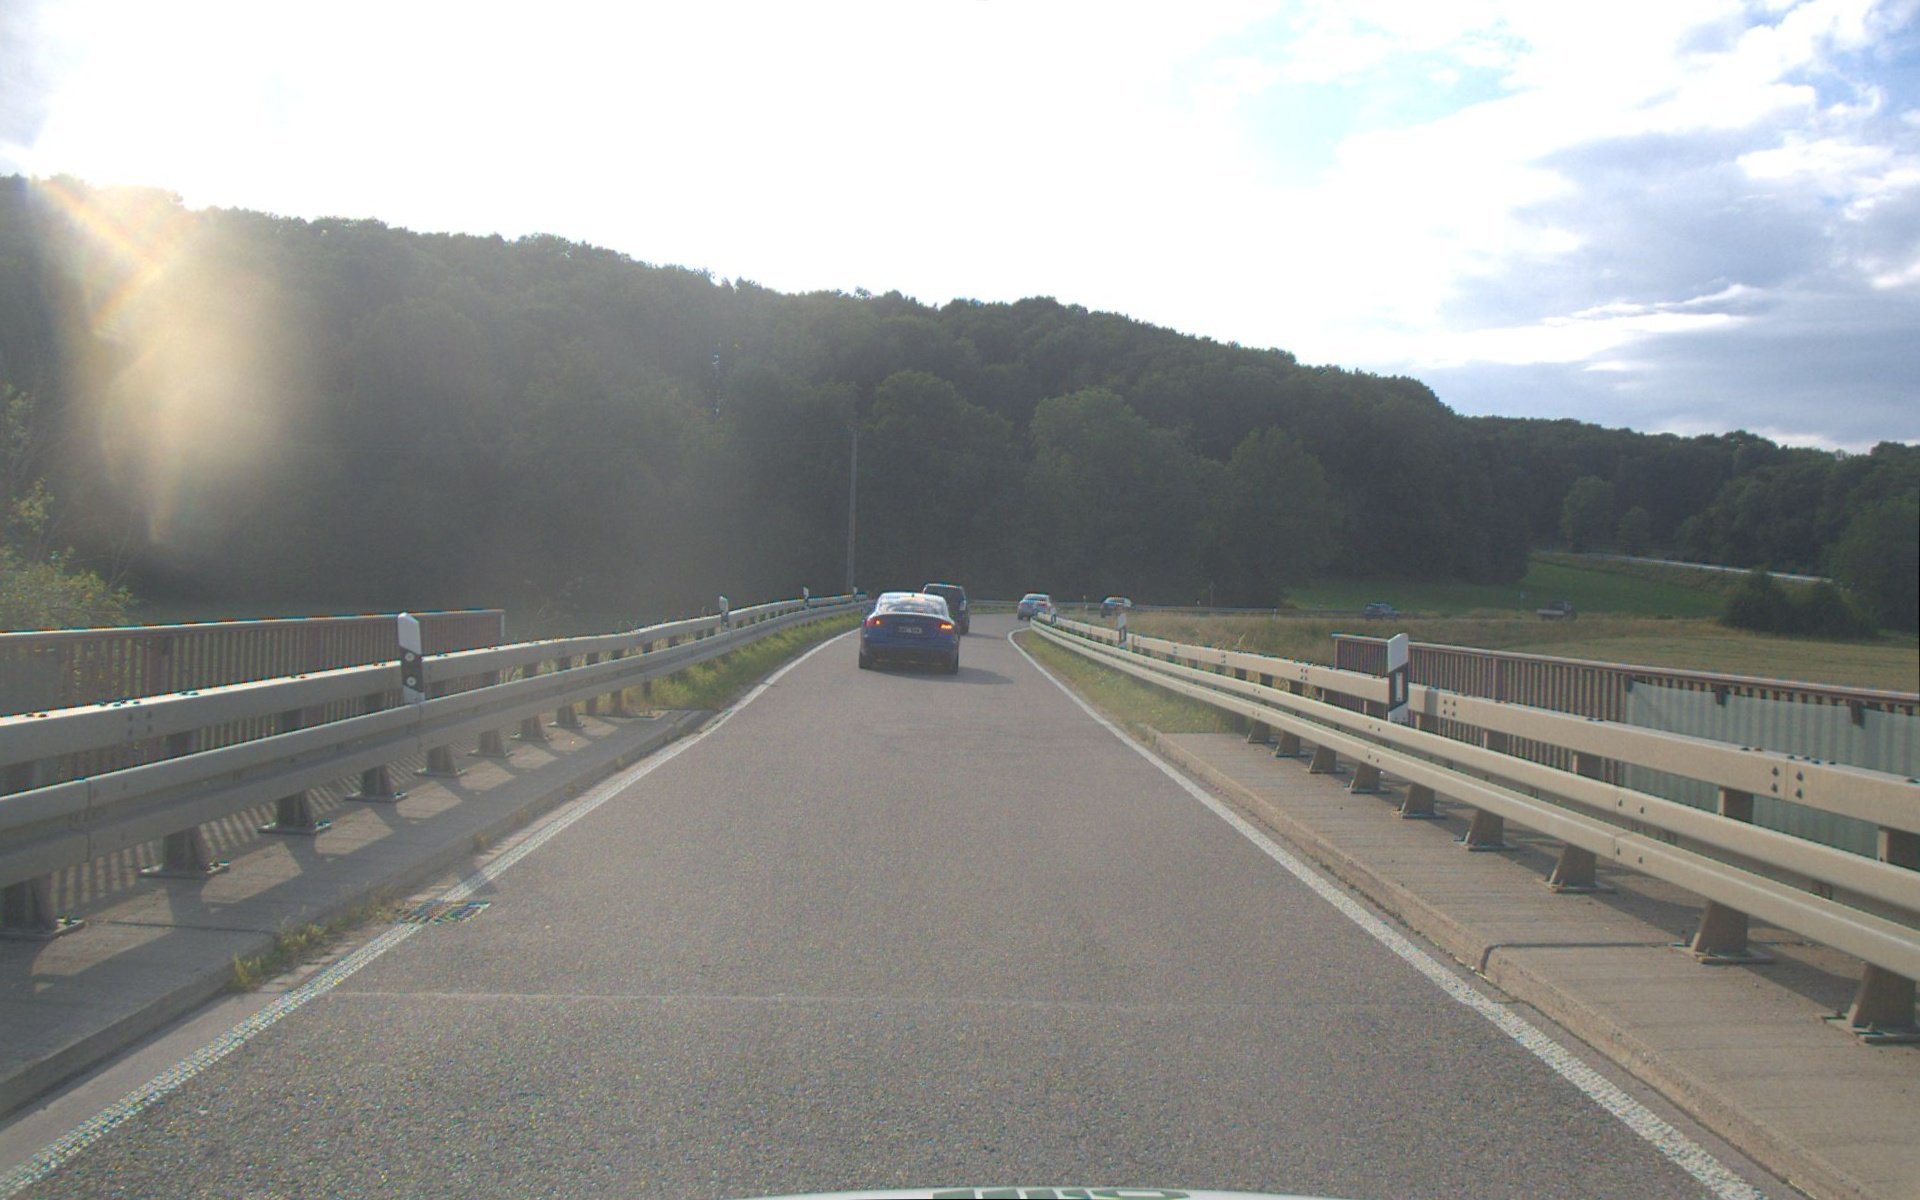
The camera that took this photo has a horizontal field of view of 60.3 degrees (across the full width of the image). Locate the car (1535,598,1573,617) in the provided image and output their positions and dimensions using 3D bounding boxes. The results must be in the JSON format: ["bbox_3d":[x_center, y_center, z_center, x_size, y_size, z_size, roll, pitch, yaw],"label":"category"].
[{"bbox_3d":[65.142,0.814,181.452,3.955,1.802,1.975,3,-1,-36],"label":"car"}]

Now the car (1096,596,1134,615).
[{"bbox_3d":[10.553,0.398,112.389,1.443,1.248,3.295,2,0,28],"label":"car"}]

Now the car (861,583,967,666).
[{"bbox_3d":[-0.896,0.413,30.793,1.782,1.362,4.348,2,0,-3],"label":"car"}]

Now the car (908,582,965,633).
[{"bbox_3d":[-0.793,0.242,56.686,1.824,1.596,4.000,2,0,0],"label":"car"}]

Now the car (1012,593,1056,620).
[{"bbox_3d":[4.066,0.338,90.490,1.646,1.400,4.003,2,0,13],"label":"car"}]

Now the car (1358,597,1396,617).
[{"bbox_3d":[40.028,0.699,158.689,1.963,1.708,4.156,4,1,39],"label":"car"}]
